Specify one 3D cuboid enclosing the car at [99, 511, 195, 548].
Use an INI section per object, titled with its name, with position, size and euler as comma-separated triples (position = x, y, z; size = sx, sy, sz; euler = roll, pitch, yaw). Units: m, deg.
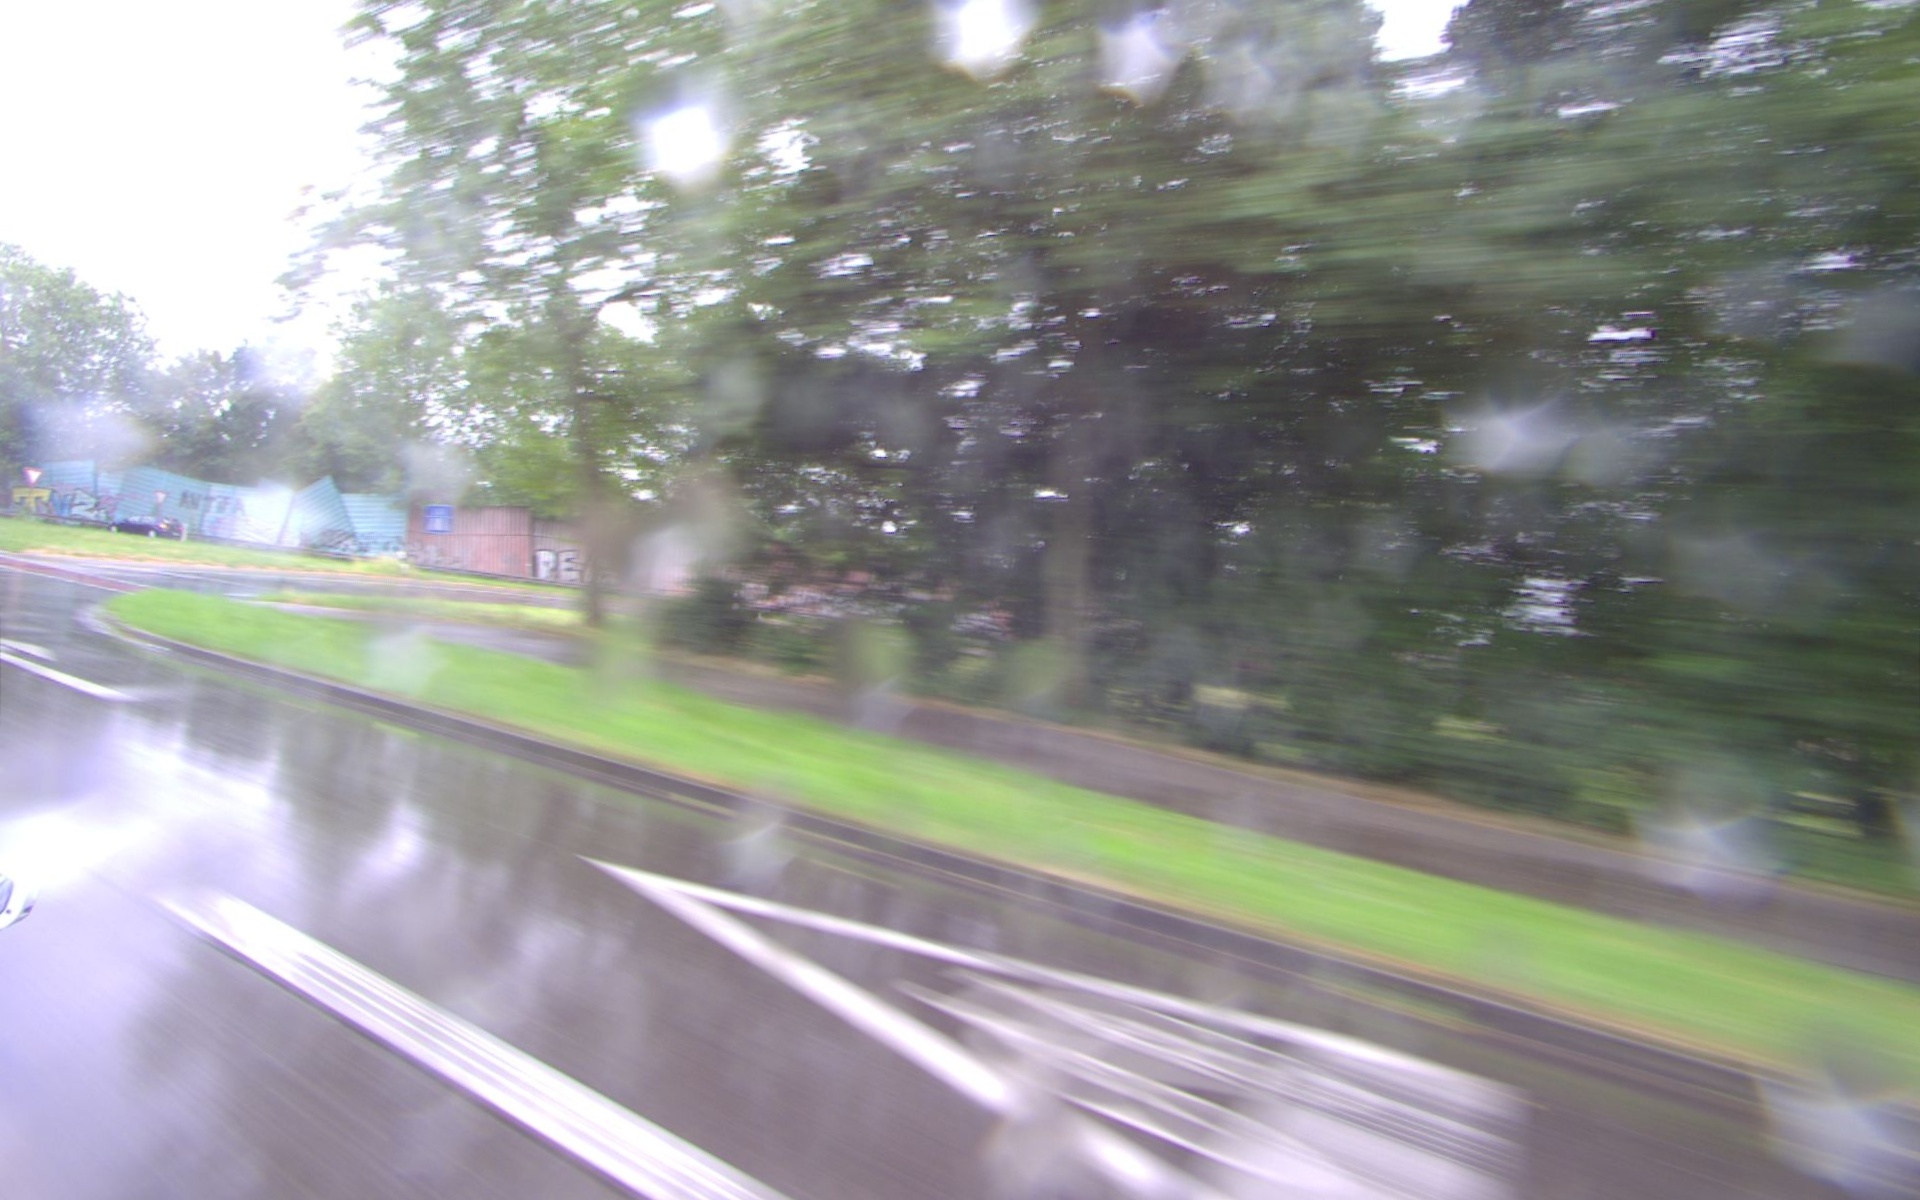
[car]
position = -49.576, -4.277, 61.395
size = 4.431, 1.555, 1.870
euler = 7, 0, 5
